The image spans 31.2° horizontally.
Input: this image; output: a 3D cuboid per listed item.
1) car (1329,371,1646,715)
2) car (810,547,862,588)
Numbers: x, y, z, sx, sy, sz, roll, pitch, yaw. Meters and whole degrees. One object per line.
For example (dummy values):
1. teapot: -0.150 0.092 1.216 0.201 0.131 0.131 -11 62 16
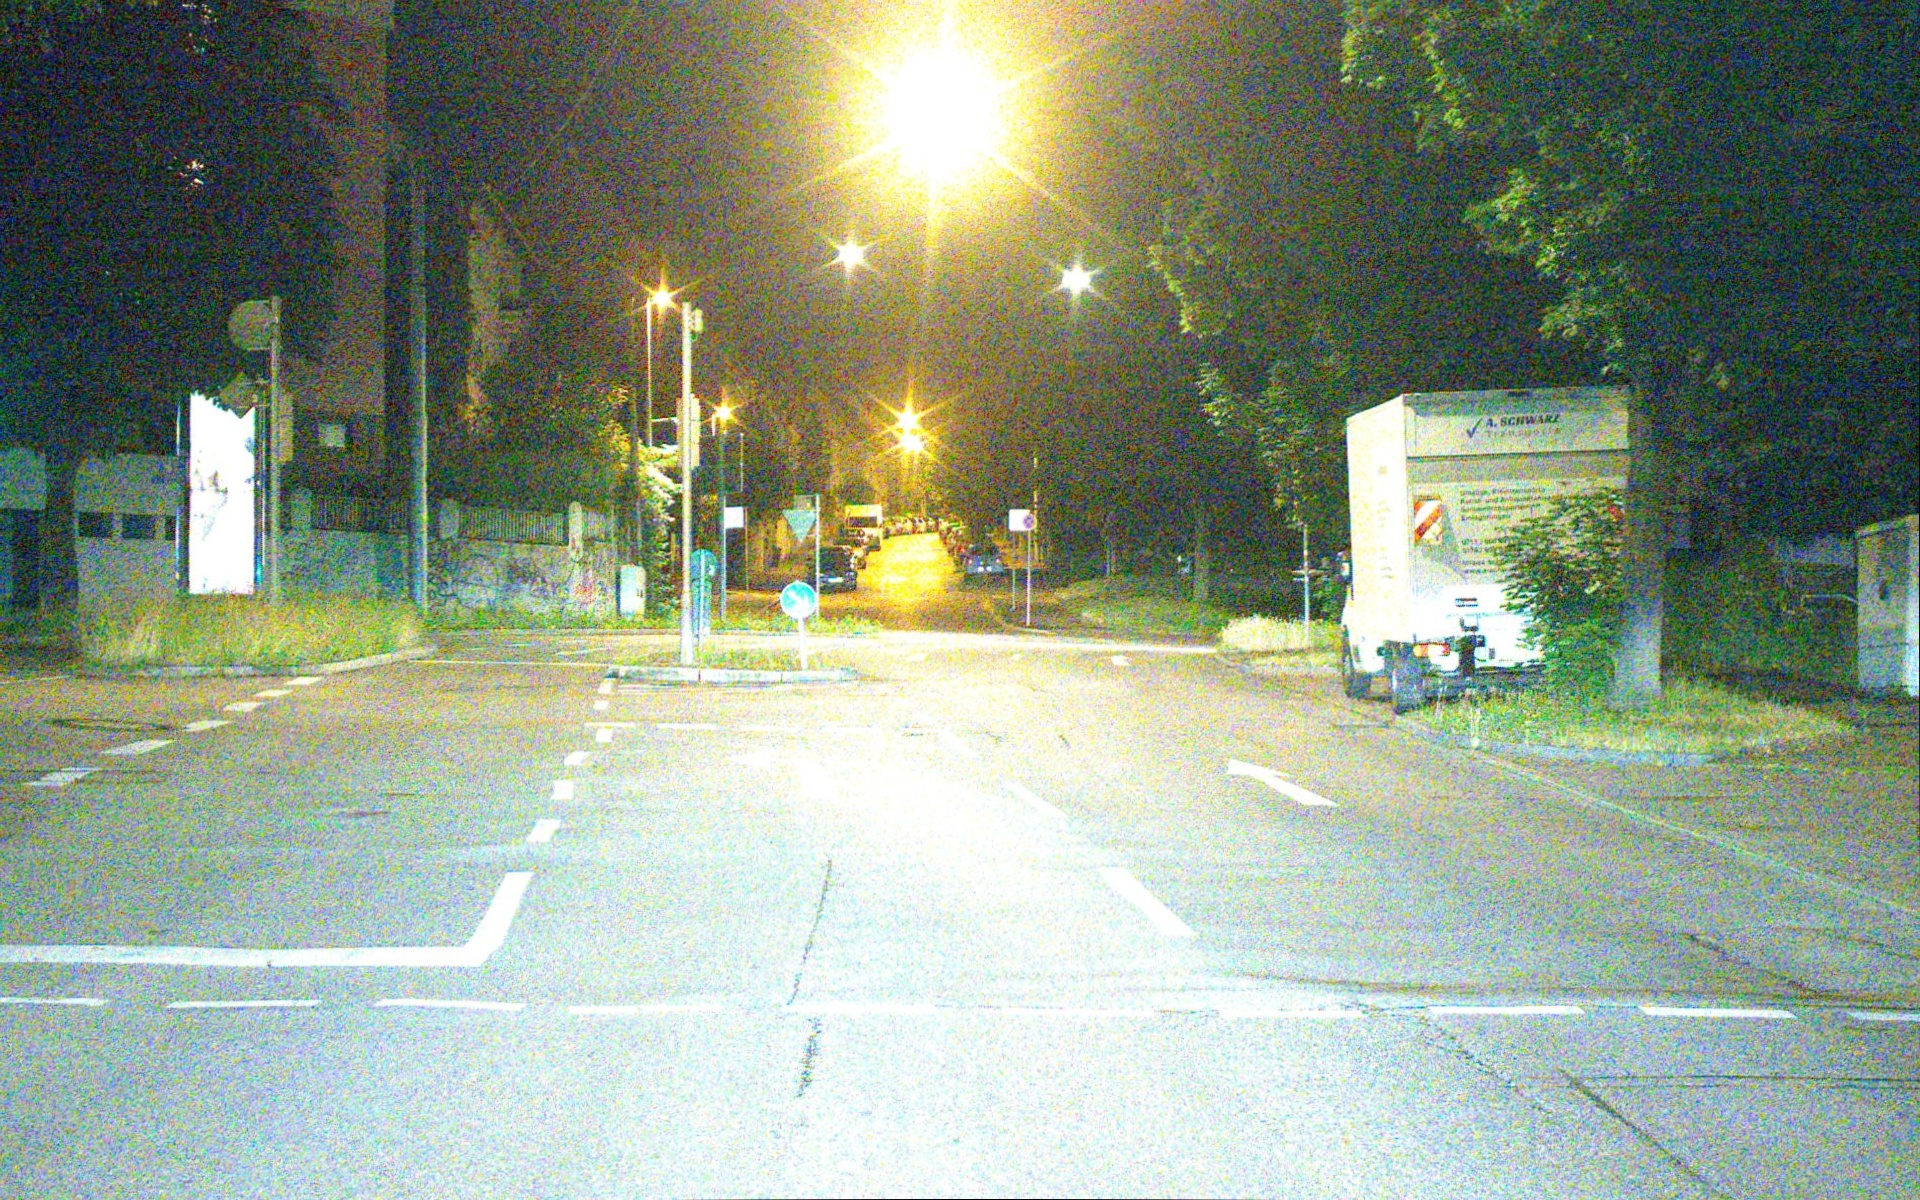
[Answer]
1. car: 5.121 -0.553 34.272 2.297 3.082 5.840 -1 1 1
2. car: -4.841 -1.282 134.400 1.908 1.552 3.904 1 1 -1
